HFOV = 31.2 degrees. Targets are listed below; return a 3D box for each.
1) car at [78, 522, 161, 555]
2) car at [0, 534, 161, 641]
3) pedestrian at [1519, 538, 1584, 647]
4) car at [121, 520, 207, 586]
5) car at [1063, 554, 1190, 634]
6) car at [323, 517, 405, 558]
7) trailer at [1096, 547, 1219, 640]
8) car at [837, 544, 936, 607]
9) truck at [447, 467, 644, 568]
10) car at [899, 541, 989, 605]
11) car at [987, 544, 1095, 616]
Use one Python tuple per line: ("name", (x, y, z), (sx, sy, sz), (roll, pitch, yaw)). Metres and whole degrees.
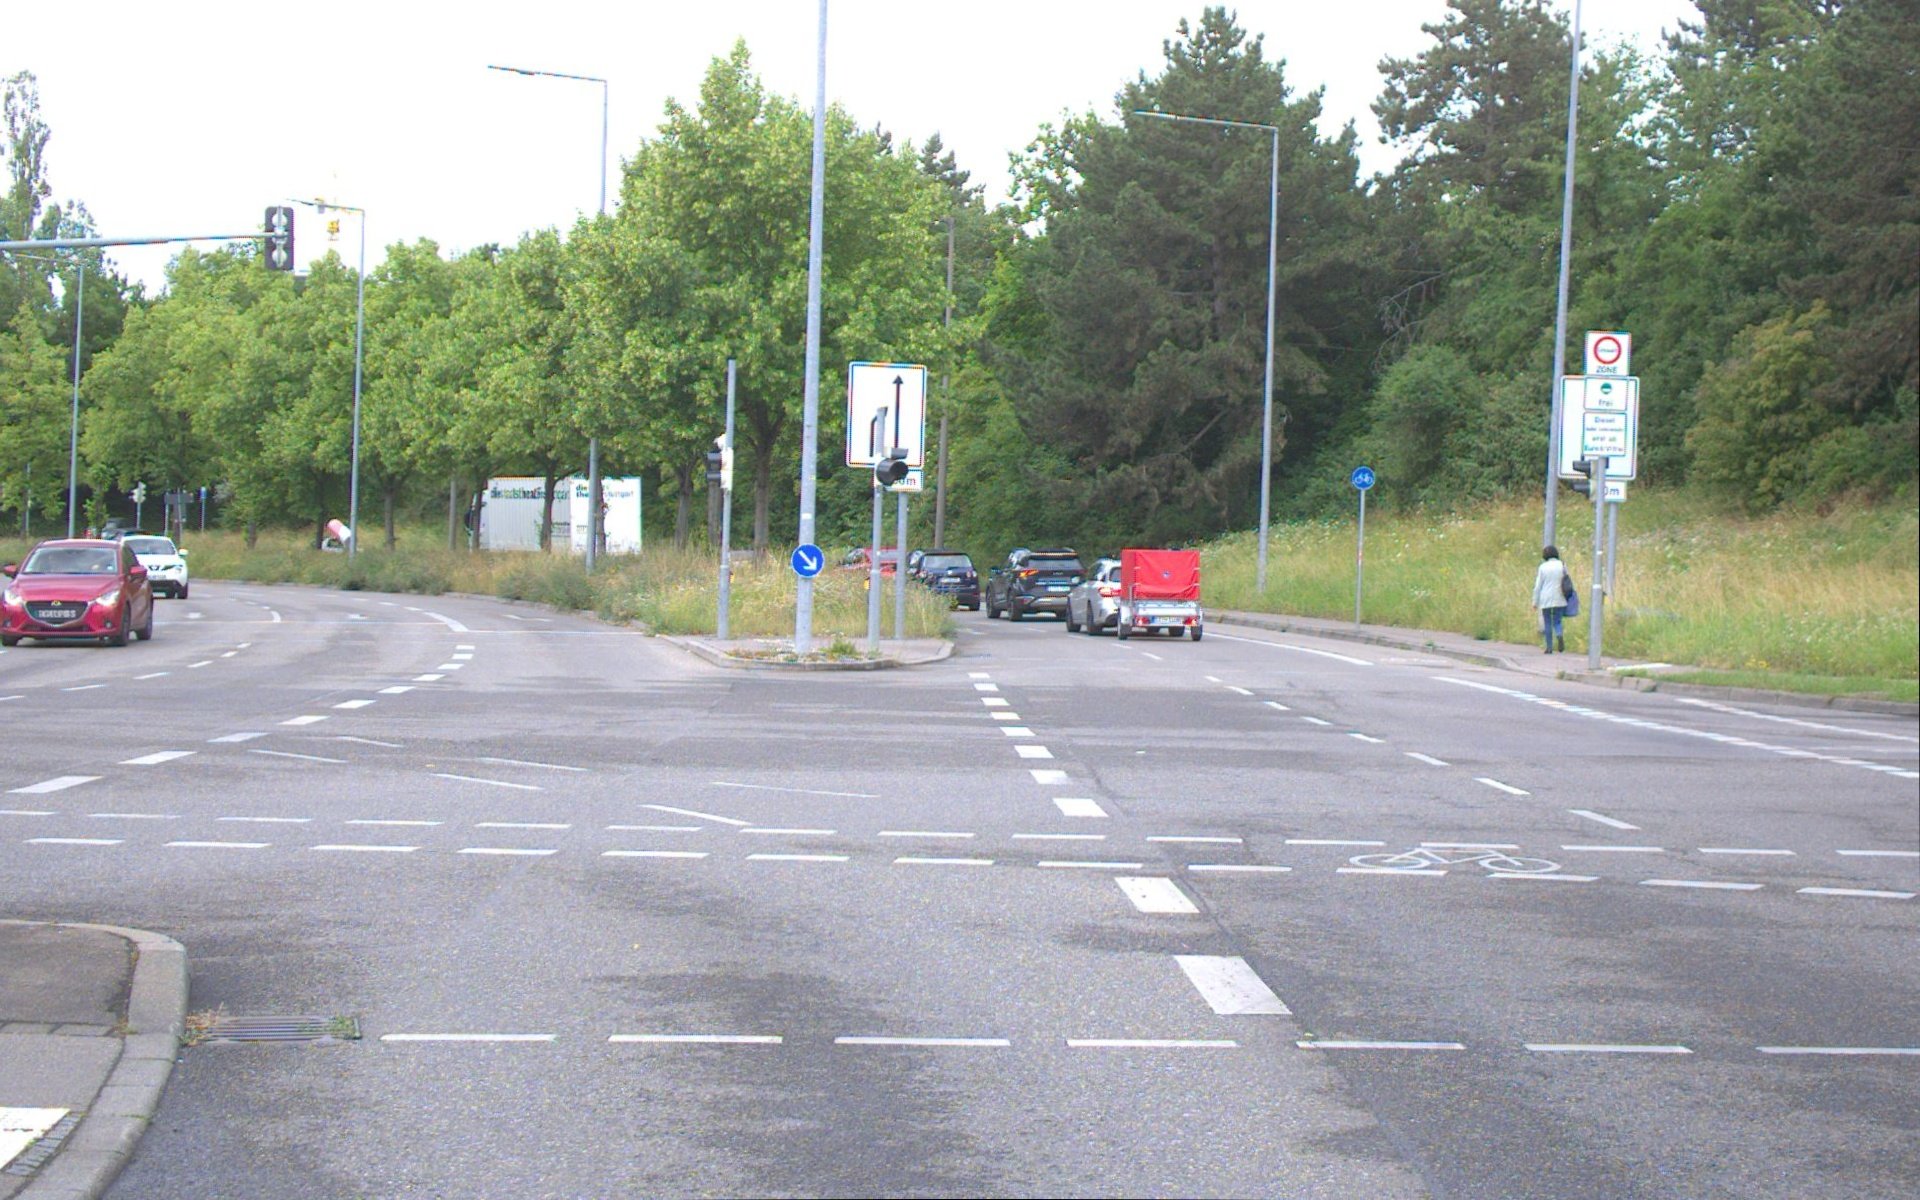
("car", (-40.034, -2.938, 163.904), (1.780, 1.541, 4.020), (1, 1, 23))
("car", (-12.381, -0.211, 48.405), (1.780, 1.438, 4.427), (0, 1, -7))
("pedestrian", (8.963, -0.117, 52.089), (0.814, 1.622, 0.791), (1, 1, -1))
("car", (-19.832, -1.184, 85.755), (1.828, 1.623, 4.427), (0, 1, -10))
("car", (3.162, -0.135, 66.041), (1.777, 1.416, 4.460), (1, 1, -6))
("car", (-23.146, -2.423, 133.379), (1.778, 1.541, 4.025), (0, 1, -31))
("trailer", (3.555, -0.135, 62.307), (1.764, 1.610, 3.044), (1, 1, -6))
("car", (-2.026, -0.683, 93.574), (1.777, 1.541, 4.026), (-1, 3, -15))
("truck", (-14.589, -2.889, 119.853), (2.739, 3.317, 11.408), (0, 1, -29))
("car", (-0.432, -0.696, 87.447), (1.777, 1.541, 4.026), (1, 1, -8))
("car", (1.797, -0.478, 77.874), (1.777, 1.541, 4.026), (1, 1, -8))
